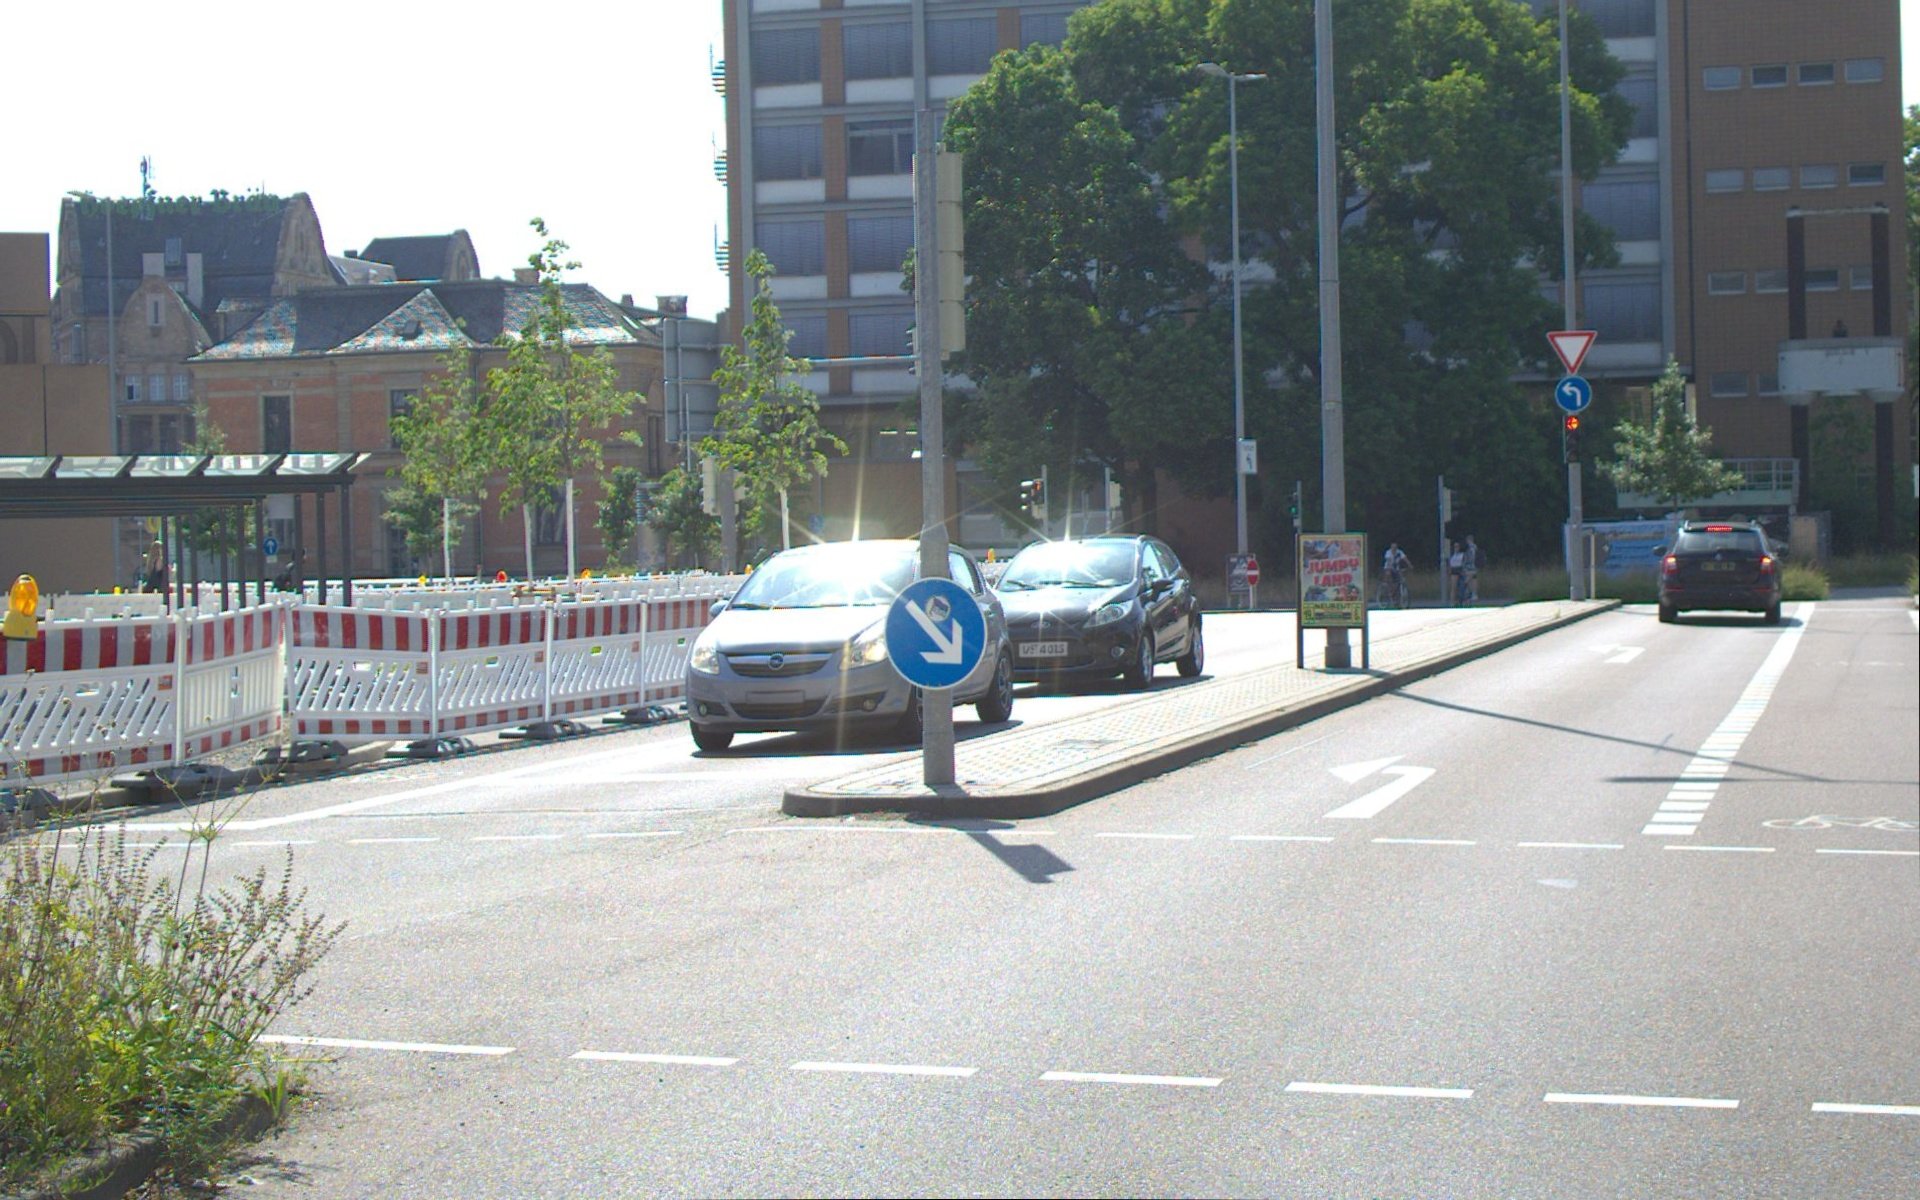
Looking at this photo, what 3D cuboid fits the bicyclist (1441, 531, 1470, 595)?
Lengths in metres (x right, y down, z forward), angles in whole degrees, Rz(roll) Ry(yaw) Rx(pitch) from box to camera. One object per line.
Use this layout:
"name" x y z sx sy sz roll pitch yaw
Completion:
"bicyclist" 12.696 -0.954 88.050 0.619 1.576 1.013 -4 0 10

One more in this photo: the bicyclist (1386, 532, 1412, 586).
"bicyclist" 11.545 -1.075 90.420 0.539 1.412 1.029 -2 0 13

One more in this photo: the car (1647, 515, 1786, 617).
"car" 11.140 -0.530 50.475 1.781 1.438 3.815 1 1 15

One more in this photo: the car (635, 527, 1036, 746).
"car" -0.821 0.215 25.398 1.795 1.407 3.997 -3 1 15

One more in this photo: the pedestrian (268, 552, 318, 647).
"pedestrian" -10.643 -0.007 54.850 0.630 1.486 0.617 -2 1 -1

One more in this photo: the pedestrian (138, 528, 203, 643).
"pedestrian" -12.285 -0.213 53.523 0.736 1.746 1.111 -2 -1 -1

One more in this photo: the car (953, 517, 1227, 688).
"car" 1.305 -0.013 32.827 1.667 1.446 3.815 -3 1 16

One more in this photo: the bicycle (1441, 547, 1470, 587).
"bicycle" 12.703 -0.856 88.051 0.619 0.957 1.967 -4 0 10

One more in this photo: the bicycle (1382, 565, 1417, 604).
"bicycle" 11.595 -0.416 90.641 0.704 0.974 2.030 -2 1 13
